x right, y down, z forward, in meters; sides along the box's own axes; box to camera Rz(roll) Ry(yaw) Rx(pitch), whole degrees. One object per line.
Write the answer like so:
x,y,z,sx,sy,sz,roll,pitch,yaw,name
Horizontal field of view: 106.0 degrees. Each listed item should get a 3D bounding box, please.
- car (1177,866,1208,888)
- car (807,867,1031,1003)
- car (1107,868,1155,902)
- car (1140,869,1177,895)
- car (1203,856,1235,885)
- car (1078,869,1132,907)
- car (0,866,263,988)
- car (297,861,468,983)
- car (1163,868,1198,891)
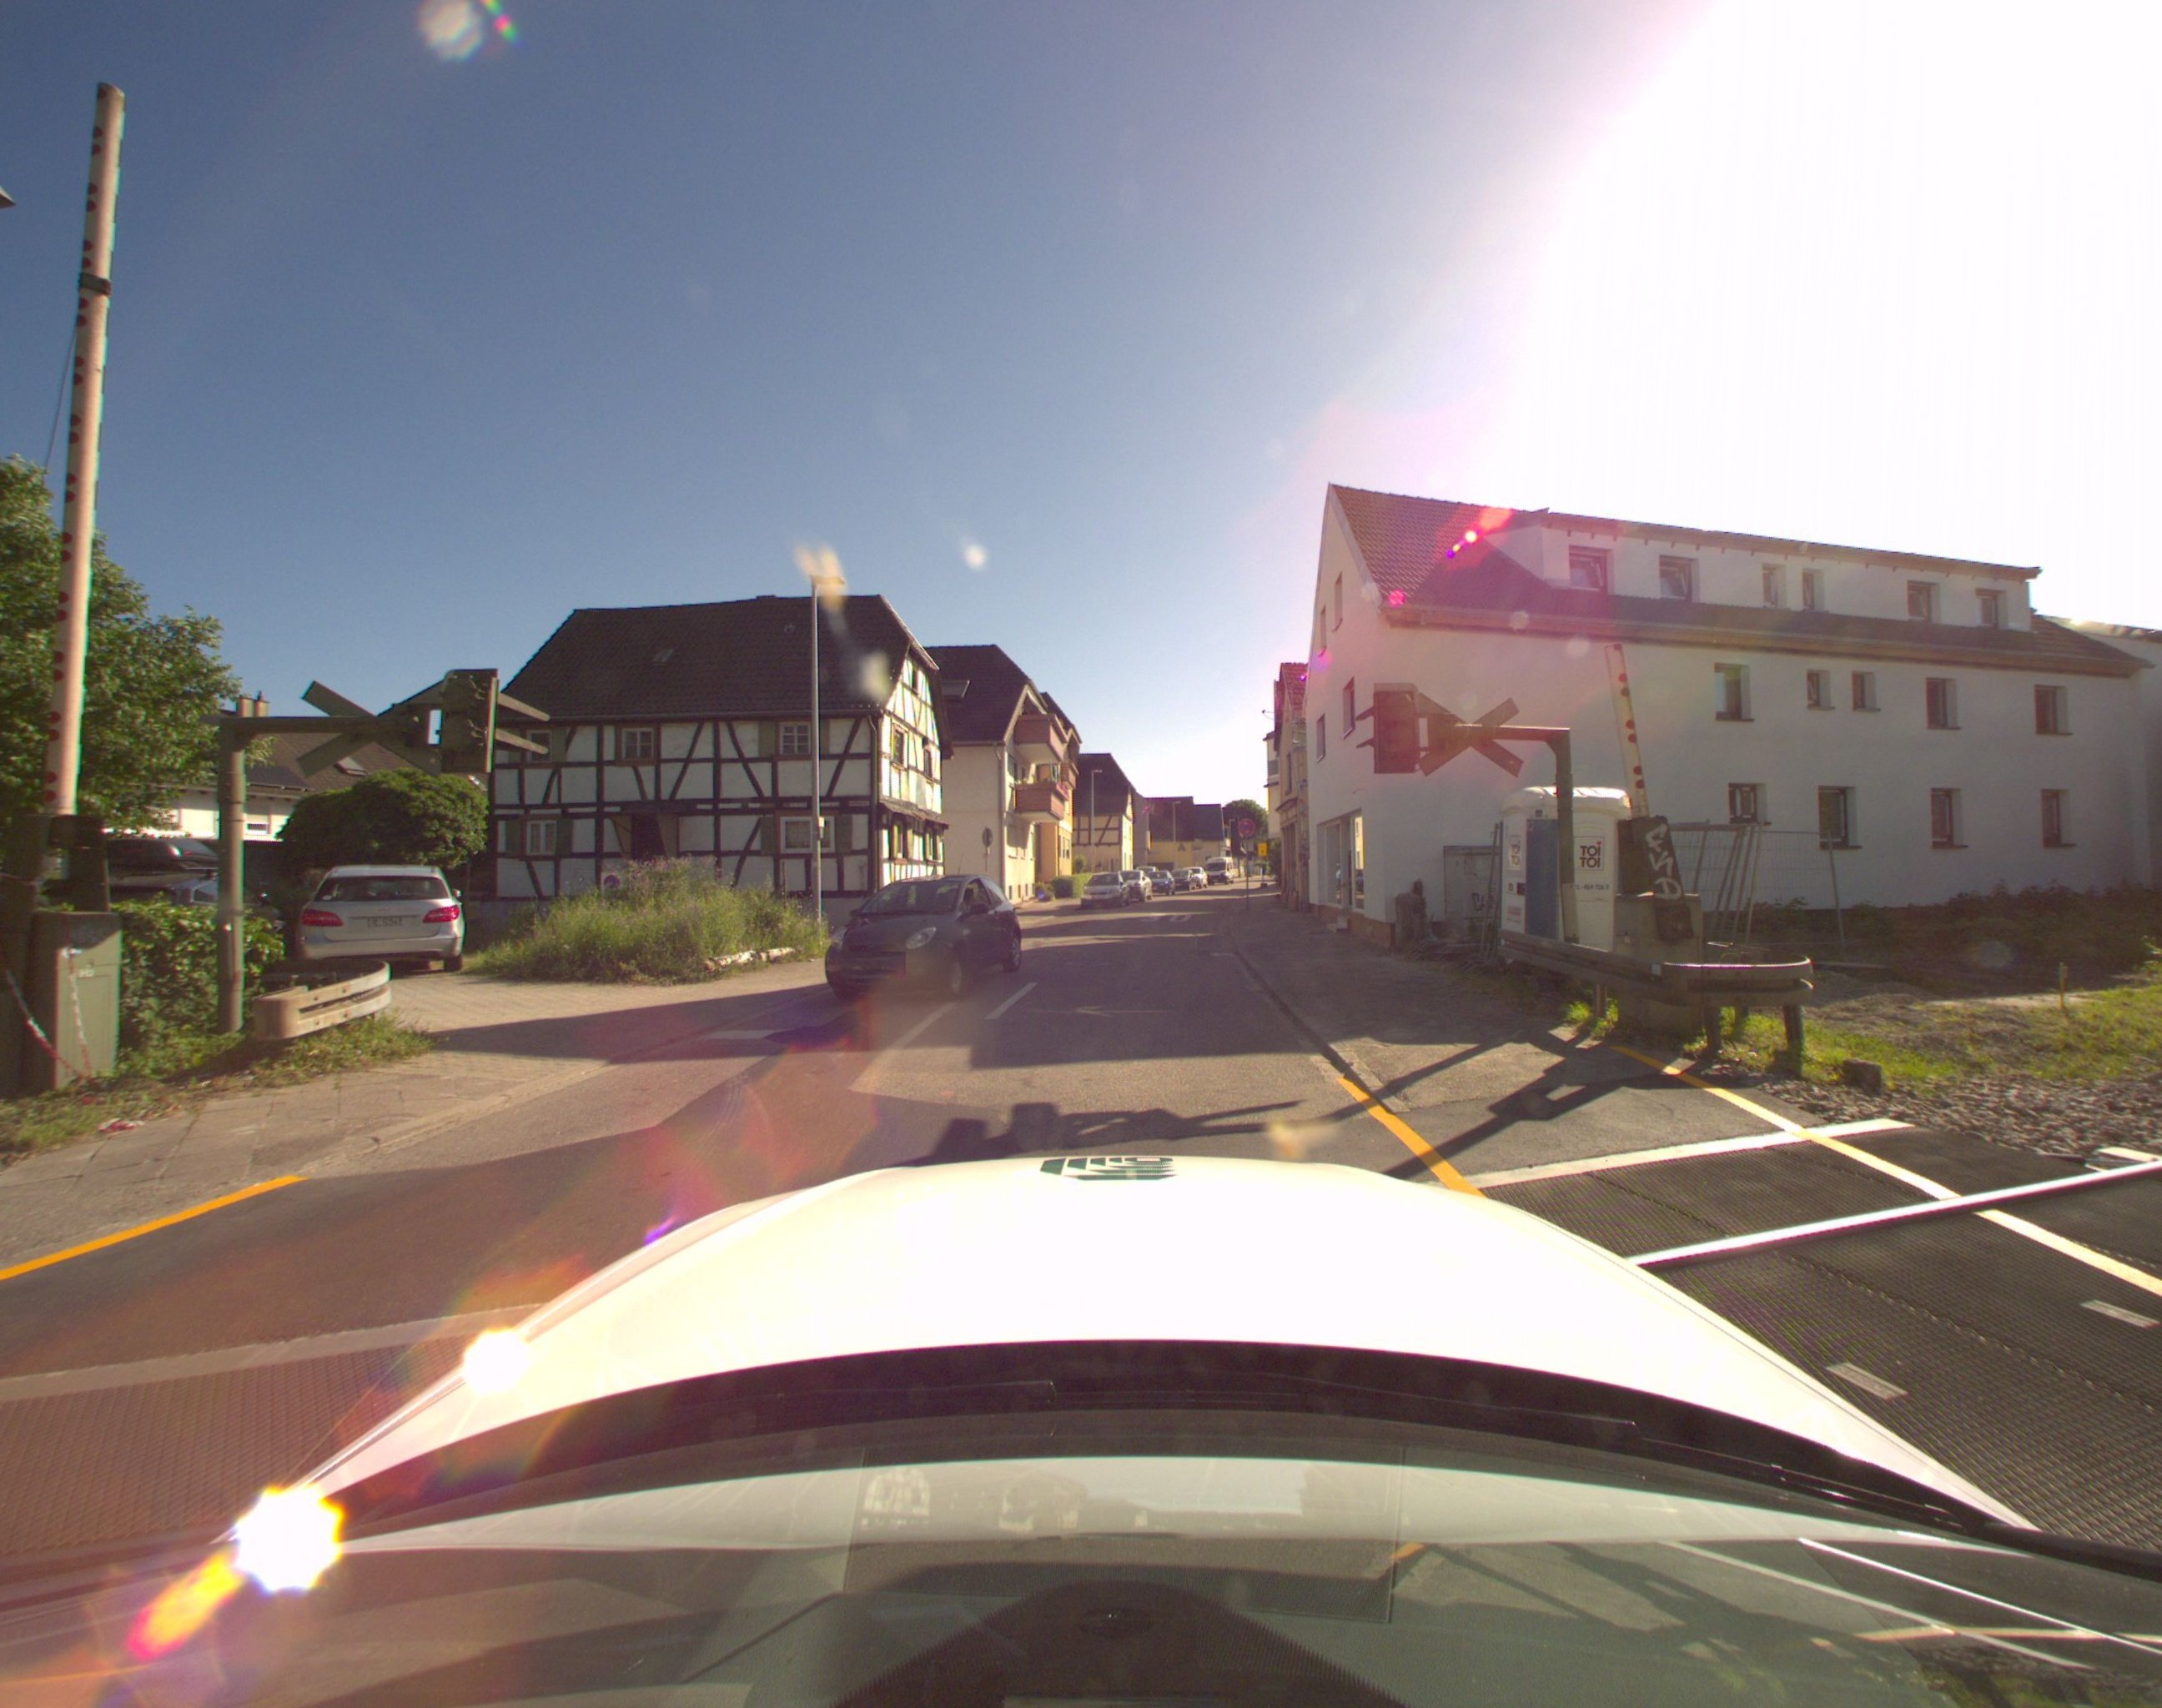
8.472,1.706,61.513,1.661,1.572,3.982,-3,-2,16,car
-2.017,0.996,11.246,1.675,1.510,3.665,-3,-2,11,car
2.451,1.455,39.231,1.662,1.506,4.107,-2,-1,12,car
4.577,1.629,47.960,1.627,1.441,4.088,-2,-2,12,car
12.545,1.508,73.821,2.060,2.394,5.232,-3,-2,18,car
1.061,1.393,34.322,1.620,1.506,3.864,-1,-1,11,car
-12.911,0.878,11.332,1.650,1.402,3.788,1,-2,-38,car
-10.614,0.945,12.601,1.697,1.564,3.954,3,-3,-38,car
7.036,1.762,57.056,1.690,1.519,4.139,-3,-2,17,car
